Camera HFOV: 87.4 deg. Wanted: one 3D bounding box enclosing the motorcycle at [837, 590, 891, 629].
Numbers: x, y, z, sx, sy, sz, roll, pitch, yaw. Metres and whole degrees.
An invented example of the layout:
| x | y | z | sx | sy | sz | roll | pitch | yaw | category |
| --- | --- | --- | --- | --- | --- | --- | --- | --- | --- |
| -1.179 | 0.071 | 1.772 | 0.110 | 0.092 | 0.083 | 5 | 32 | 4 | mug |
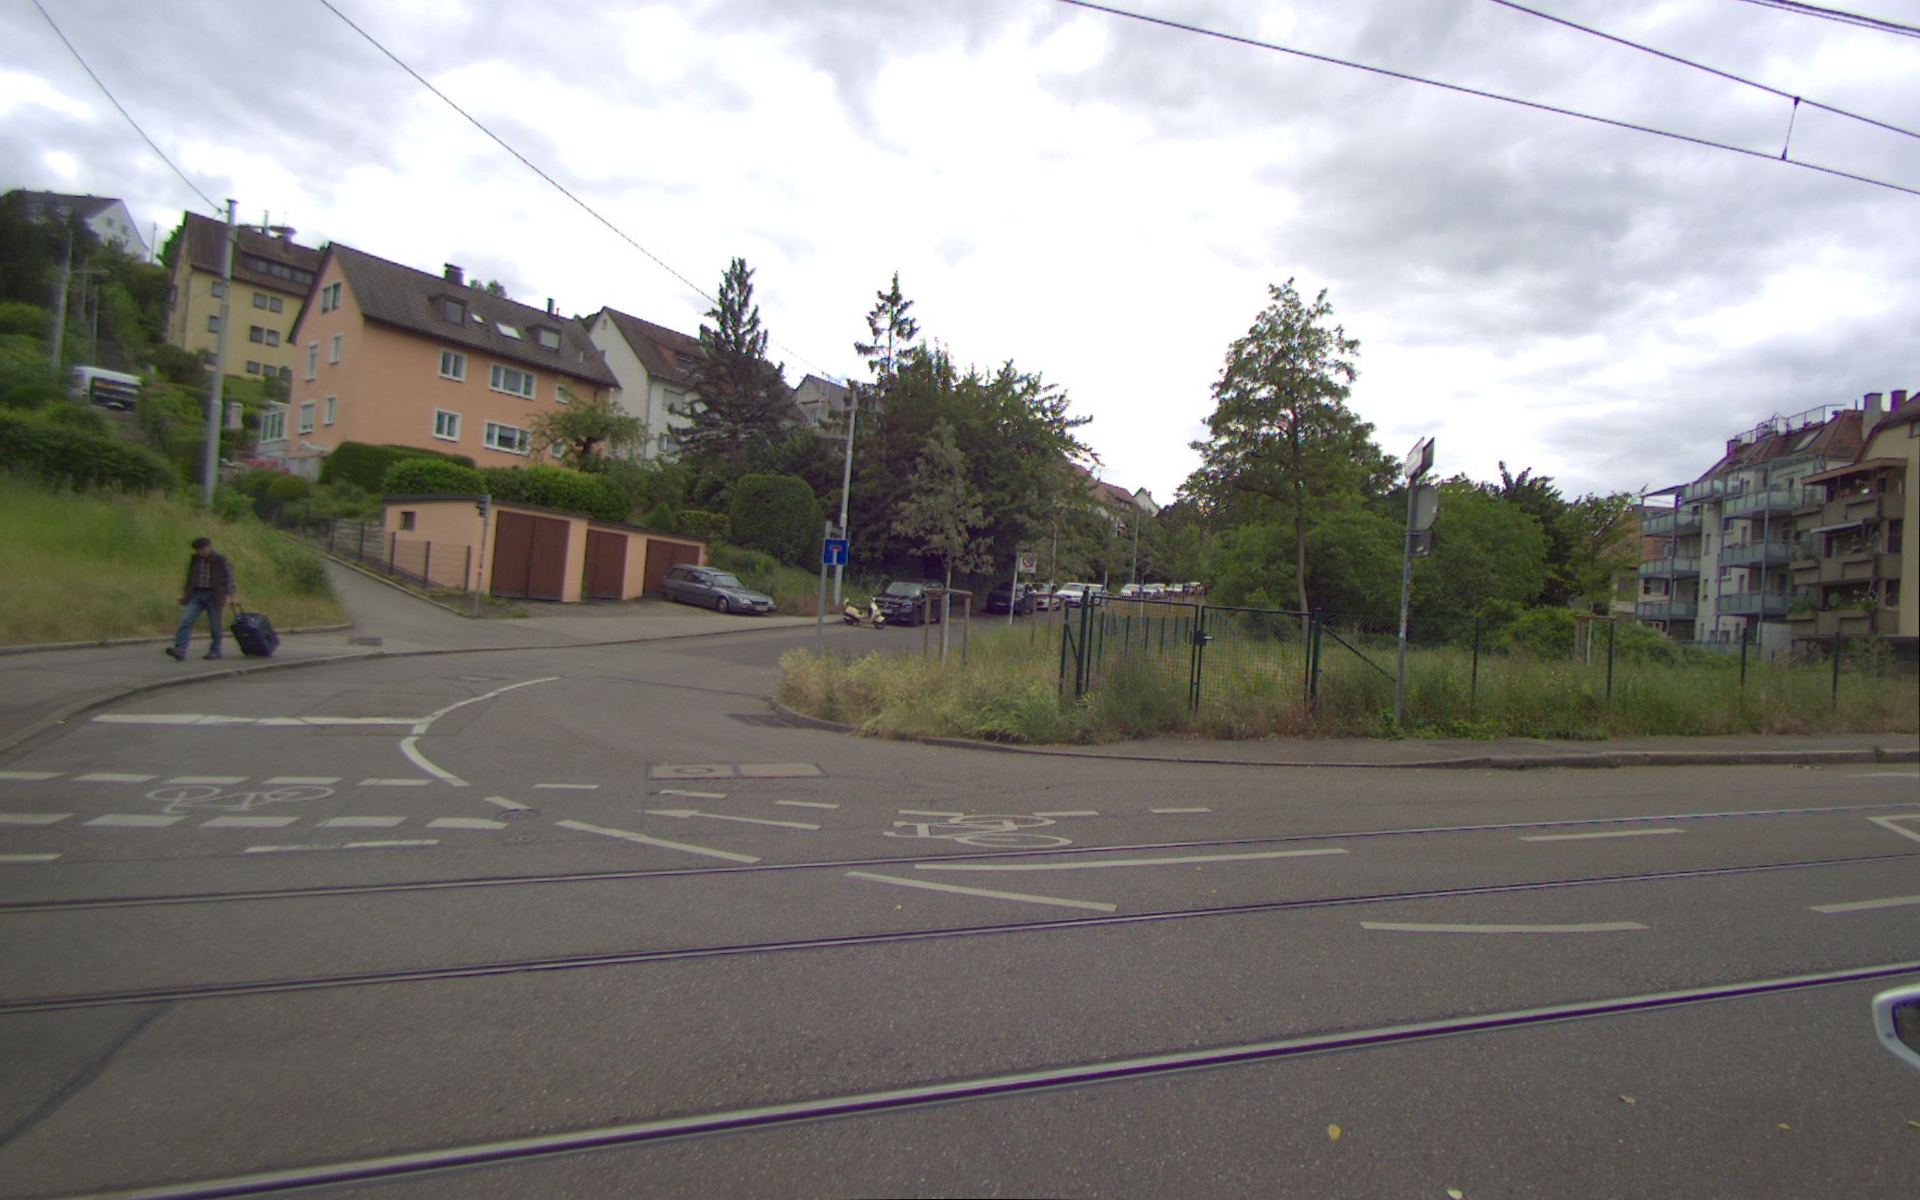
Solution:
| x | y | z | sx | sy | sz | roll | pitch | yaw | category |
| --- | --- | --- | --- | --- | --- | --- | --- | --- | --- |
| -3.325 | 0.332 | 34.794 | 1.671 | 1.172 | 0.522 | 6 | 1 | 18 | motorcycle |

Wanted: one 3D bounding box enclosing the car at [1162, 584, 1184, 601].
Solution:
| x | y | z | sx | sy | sz | roll | pitch | yaw | category |
| --- | --- | --- | --- | --- | --- | --- | --- | --- | --- |
| 24.270 | -0.836 | 114.357 | 1.801 | 1.680 | 4.132 | 2 | -1 | 20 | car |

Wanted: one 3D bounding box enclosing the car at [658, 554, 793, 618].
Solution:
| x | y | z | sx | sy | sz | roll | pitch | yaw | category |
| --- | --- | --- | --- | --- | --- | --- | --- | --- | --- |
| -8.265 | -0.519 | 35.170 | 4.806 | 1.633 | 1.991 | 8 | 3 | 39 | car |

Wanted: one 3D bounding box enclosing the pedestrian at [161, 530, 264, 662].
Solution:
| x | y | z | sx | sy | sz | roll | pitch | yaw | category |
| --- | --- | --- | --- | --- | --- | --- | --- | --- | --- |
| -10.510 | -0.051 | 14.161 | 0.728 | 1.773 | 0.902 | 2 | -1 | -5 | pedestrian |

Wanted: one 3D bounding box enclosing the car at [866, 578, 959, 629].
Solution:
| x | y | z | sx | sy | sz | roll | pitch | yaw | category |
| --- | --- | --- | --- | --- | --- | --- | --- | --- | --- |
| -1.699 | 0.083 | 37.842 | 1.938 | 1.713 | 4.450 | 2 | 2 | 20 | car |

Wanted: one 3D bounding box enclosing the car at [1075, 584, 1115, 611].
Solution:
| x | y | z | sx | sy | sz | roll | pitch | yaw | category |
| --- | --- | --- | --- | --- | --- | --- | --- | --- | --- |
| 9.487 | -0.135 | 70.497 | 1.801 | 1.680 | 4.131 | 2 | -1 | 21 | car |

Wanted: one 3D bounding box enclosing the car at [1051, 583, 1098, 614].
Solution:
| x | y | z | sx | sy | sz | roll | pitch | yaw | category |
| --- | --- | --- | --- | --- | --- | --- | --- | --- | --- |
| 7.493 | -0.043 | 65.355 | 1.865 | 1.812 | 4.484 | 2 | -1 | 21 | car |

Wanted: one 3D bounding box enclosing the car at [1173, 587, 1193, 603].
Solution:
| x | y | z | sx | sy | sz | roll | pitch | yaw | category |
| --- | --- | --- | --- | --- | --- | --- | --- | --- | --- |
| 26.868 | -0.606 | 120.942 | 1.801 | 1.680 | 4.132 | 2 | -1 | 20 | car |

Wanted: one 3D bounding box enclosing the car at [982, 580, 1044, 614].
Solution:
| x | y | z | sx | sy | sz | roll | pitch | yaw | category |
| --- | --- | --- | --- | --- | --- | --- | --- | --- | --- |
| 2.767 | -0.107 | 51.334 | 1.944 | 1.531 | 4.131 | 2 | -1 | 21 | car |

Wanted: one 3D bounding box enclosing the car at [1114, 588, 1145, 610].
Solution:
| x | y | z | sx | sy | sz | roll | pitch | yaw | category |
| --- | --- | --- | --- | --- | --- | --- | --- | --- | --- |
| 14.671 | -0.067 | 86.716 | 1.801 | 1.680 | 4.131 | 2 | -1 | 21 | car |

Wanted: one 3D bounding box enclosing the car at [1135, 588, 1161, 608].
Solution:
| x | y | z | sx | sy | sz | roll | pitch | yaw | category |
| --- | --- | --- | --- | --- | --- | --- | --- | --- | --- |
| 18.326 | -0.192 | 97.720 | 1.801 | 1.680 | 4.132 | 2 | -1 | 20 | car |

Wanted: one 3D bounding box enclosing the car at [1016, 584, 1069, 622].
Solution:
| x | y | z | sx | sy | sz | roll | pitch | yaw | category |
| --- | --- | --- | --- | --- | --- | --- | --- | --- | --- |
| 4.797 | 0.207 | 57.967 | 1.943 | 2.040 | 4.132 | 2 | -1 | 20 | car |

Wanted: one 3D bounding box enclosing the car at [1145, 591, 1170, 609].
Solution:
| x | y | z | sx | sy | sz | roll | pitch | yaw | category |
| --- | --- | --- | --- | --- | --- | --- | --- | --- | --- |
| 20.326 | -0.013 | 103.277 | 1.801 | 1.680 | 4.132 | 2 | -1 | 20 | car |
